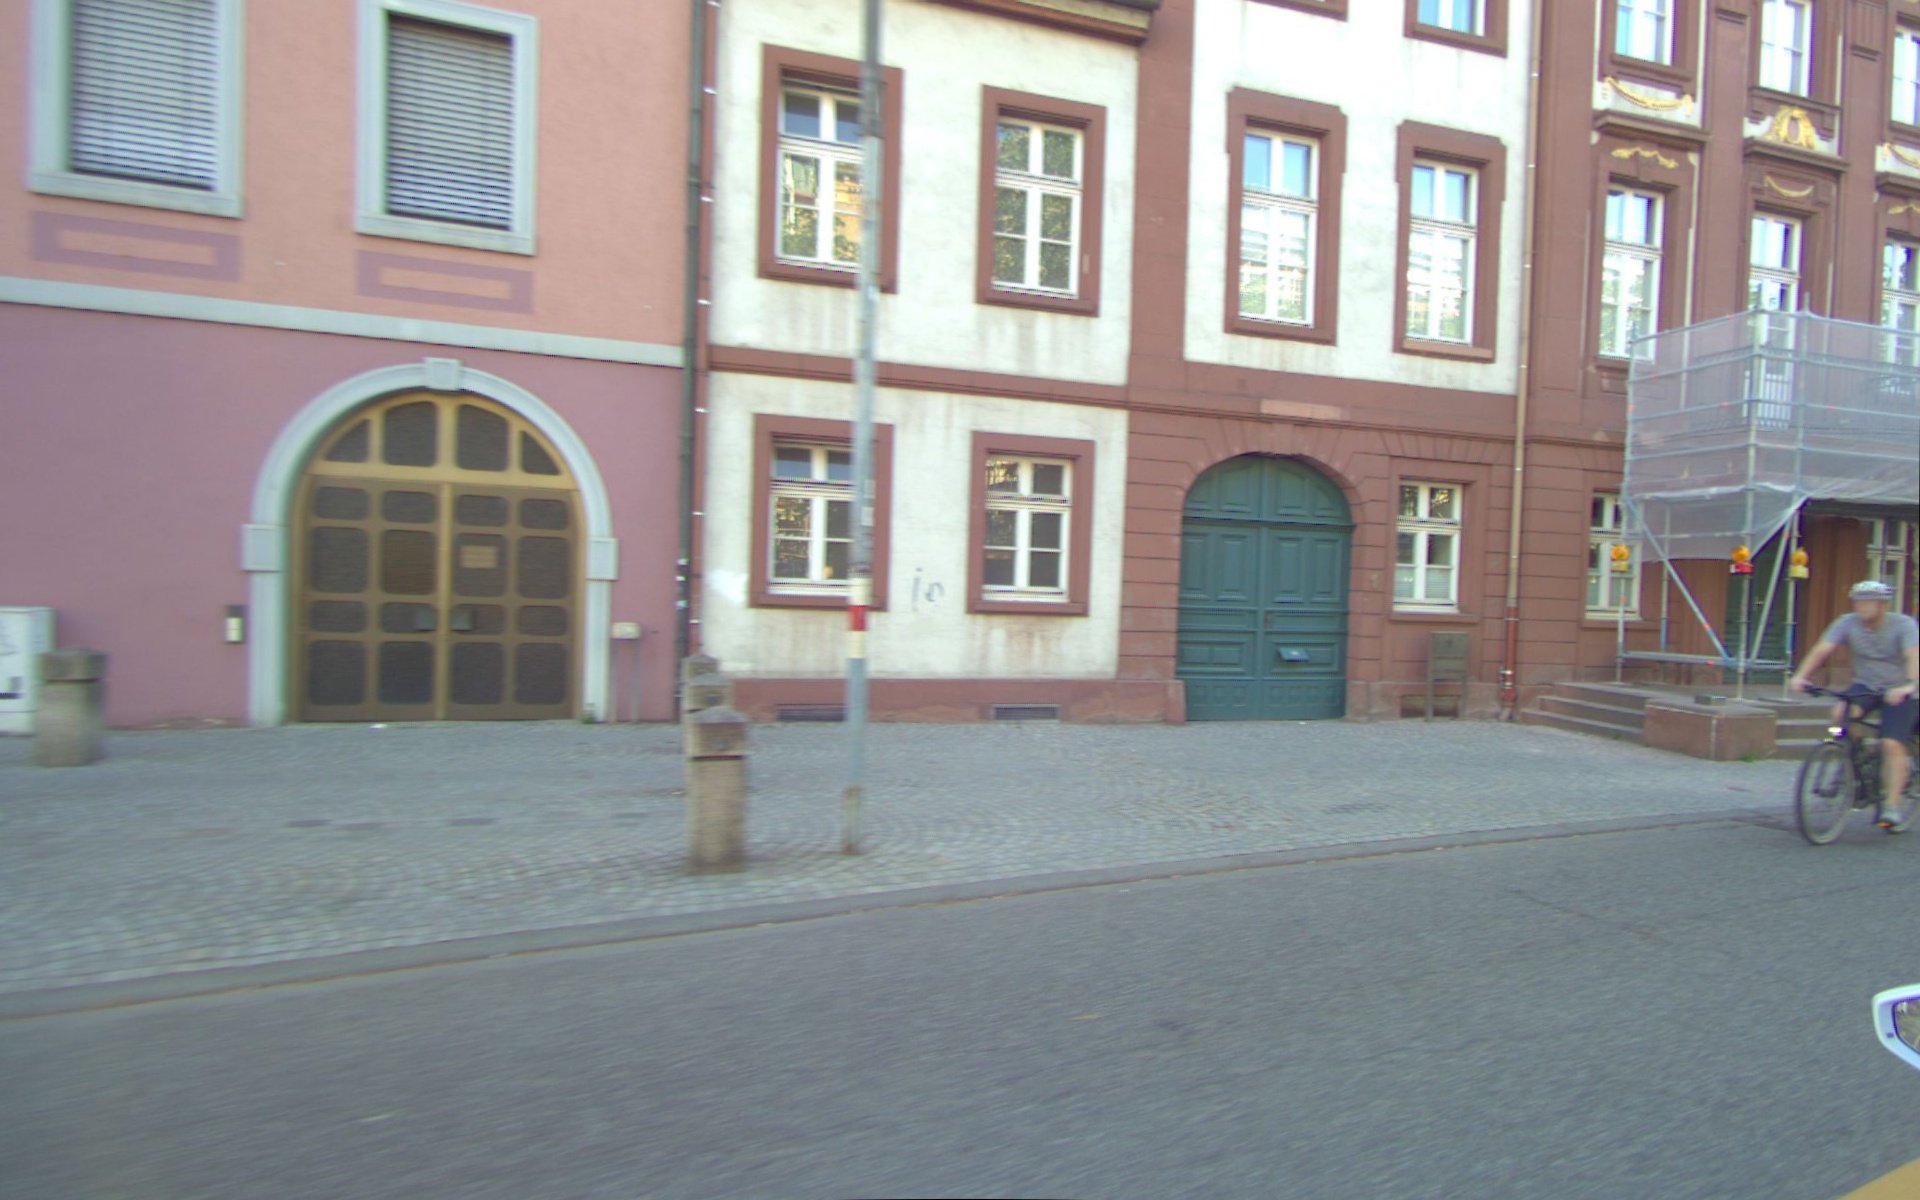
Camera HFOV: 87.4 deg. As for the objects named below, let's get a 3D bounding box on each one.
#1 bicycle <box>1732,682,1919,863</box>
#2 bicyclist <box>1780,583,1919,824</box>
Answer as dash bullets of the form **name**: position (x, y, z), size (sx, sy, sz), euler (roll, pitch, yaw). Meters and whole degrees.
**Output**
- **bicycle**: position (6.636, 1.179, 7.259), size (2.049, 1.077, 0.769), euler (1, 1, -24)
- **bicyclist**: position (6.585, 0.697, 7.208), size (0.784, 1.605, 0.742), euler (1, 2, -23)
